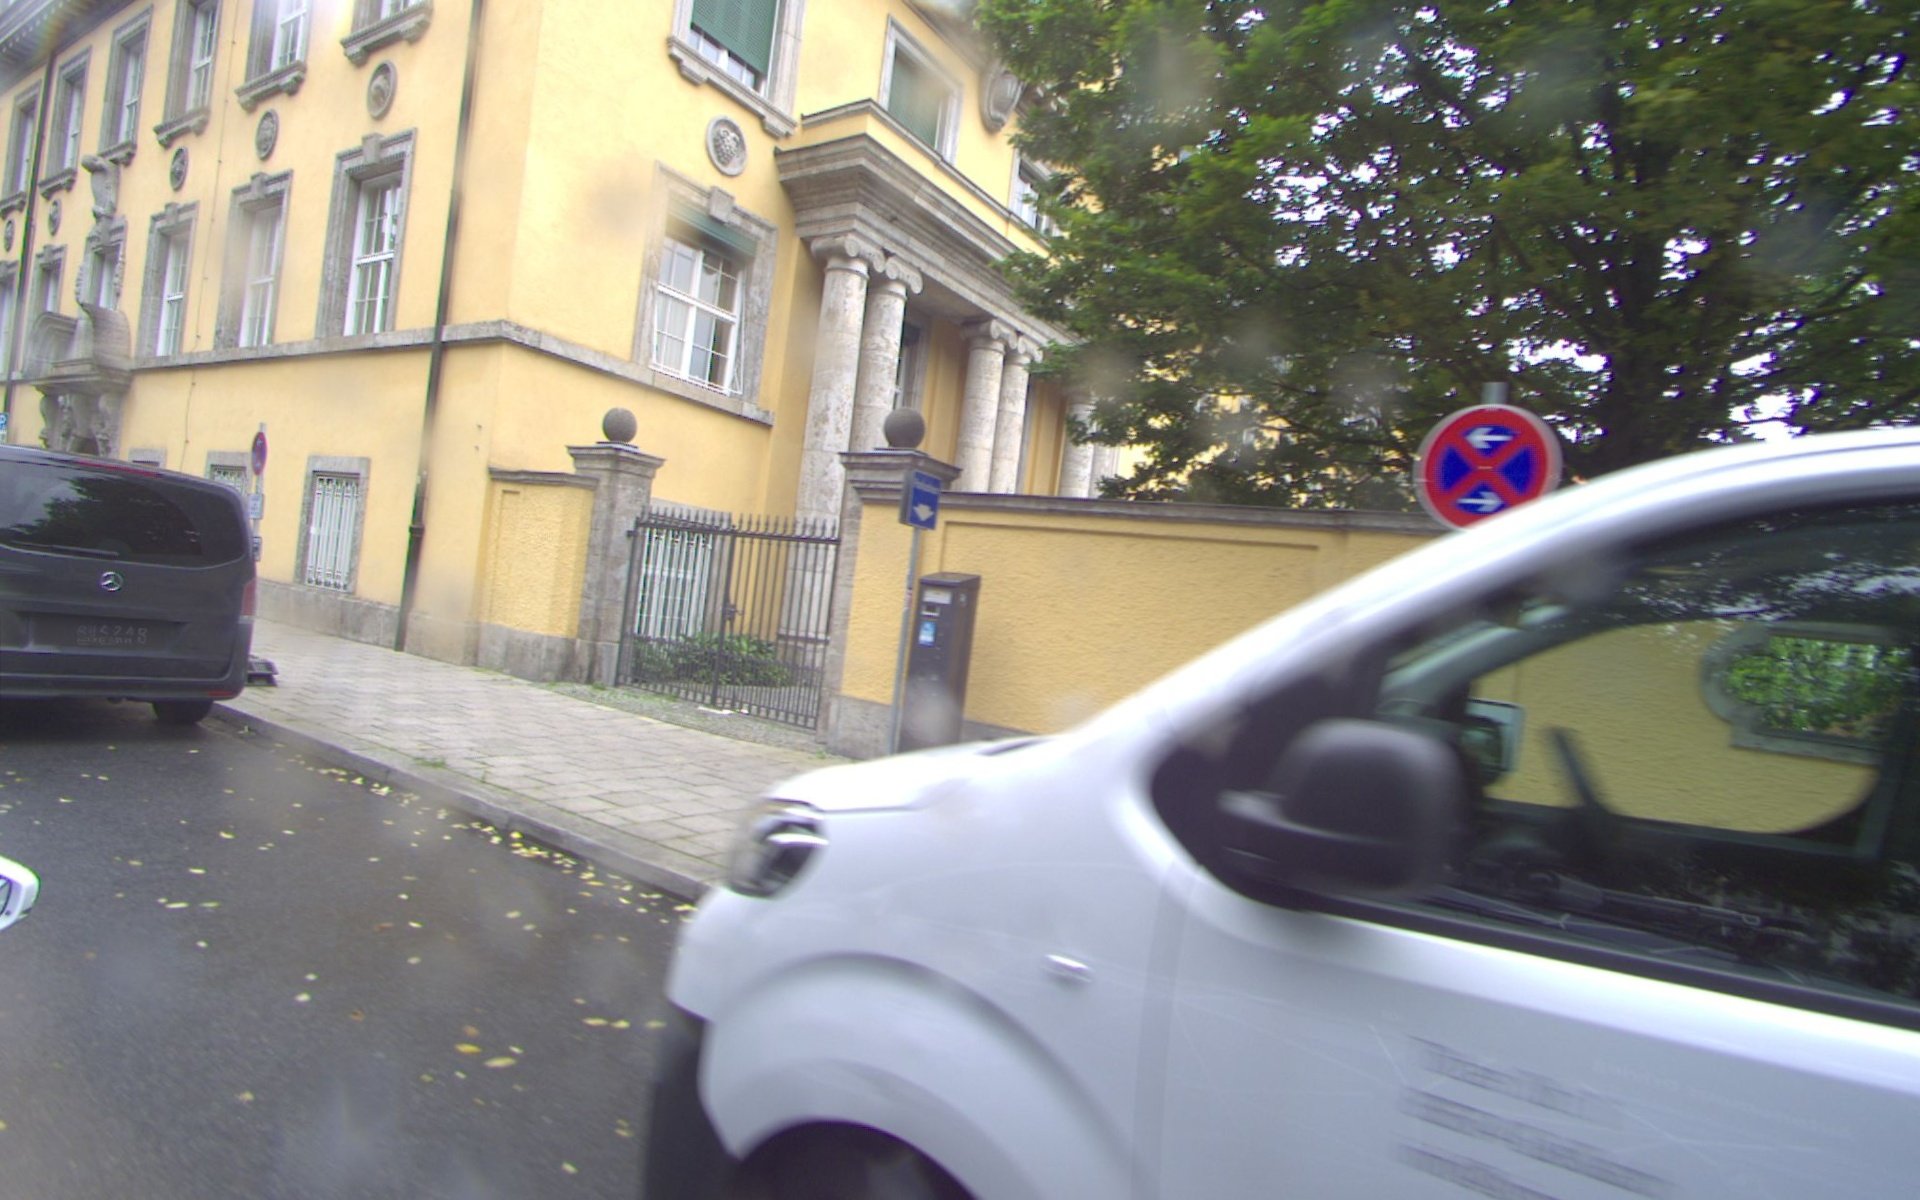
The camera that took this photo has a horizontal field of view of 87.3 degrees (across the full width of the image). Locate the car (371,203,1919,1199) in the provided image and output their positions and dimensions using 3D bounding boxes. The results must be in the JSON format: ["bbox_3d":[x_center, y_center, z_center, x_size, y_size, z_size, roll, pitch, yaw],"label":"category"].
[{"bbox_3d":[1.673,0.780,1.407,5.077,1.929,2.018,7,-2,31],"label":"car"}]

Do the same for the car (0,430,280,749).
[{"bbox_3d":[-7.500,-0.234,7.712,4.905,1.892,1.873,6,0,32],"label":"car"}]

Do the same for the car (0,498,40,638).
[{"bbox_3d":[-12.295,-0.580,11.238,4.185,1.476,1.873,6,-1,32],"label":"car"}]
